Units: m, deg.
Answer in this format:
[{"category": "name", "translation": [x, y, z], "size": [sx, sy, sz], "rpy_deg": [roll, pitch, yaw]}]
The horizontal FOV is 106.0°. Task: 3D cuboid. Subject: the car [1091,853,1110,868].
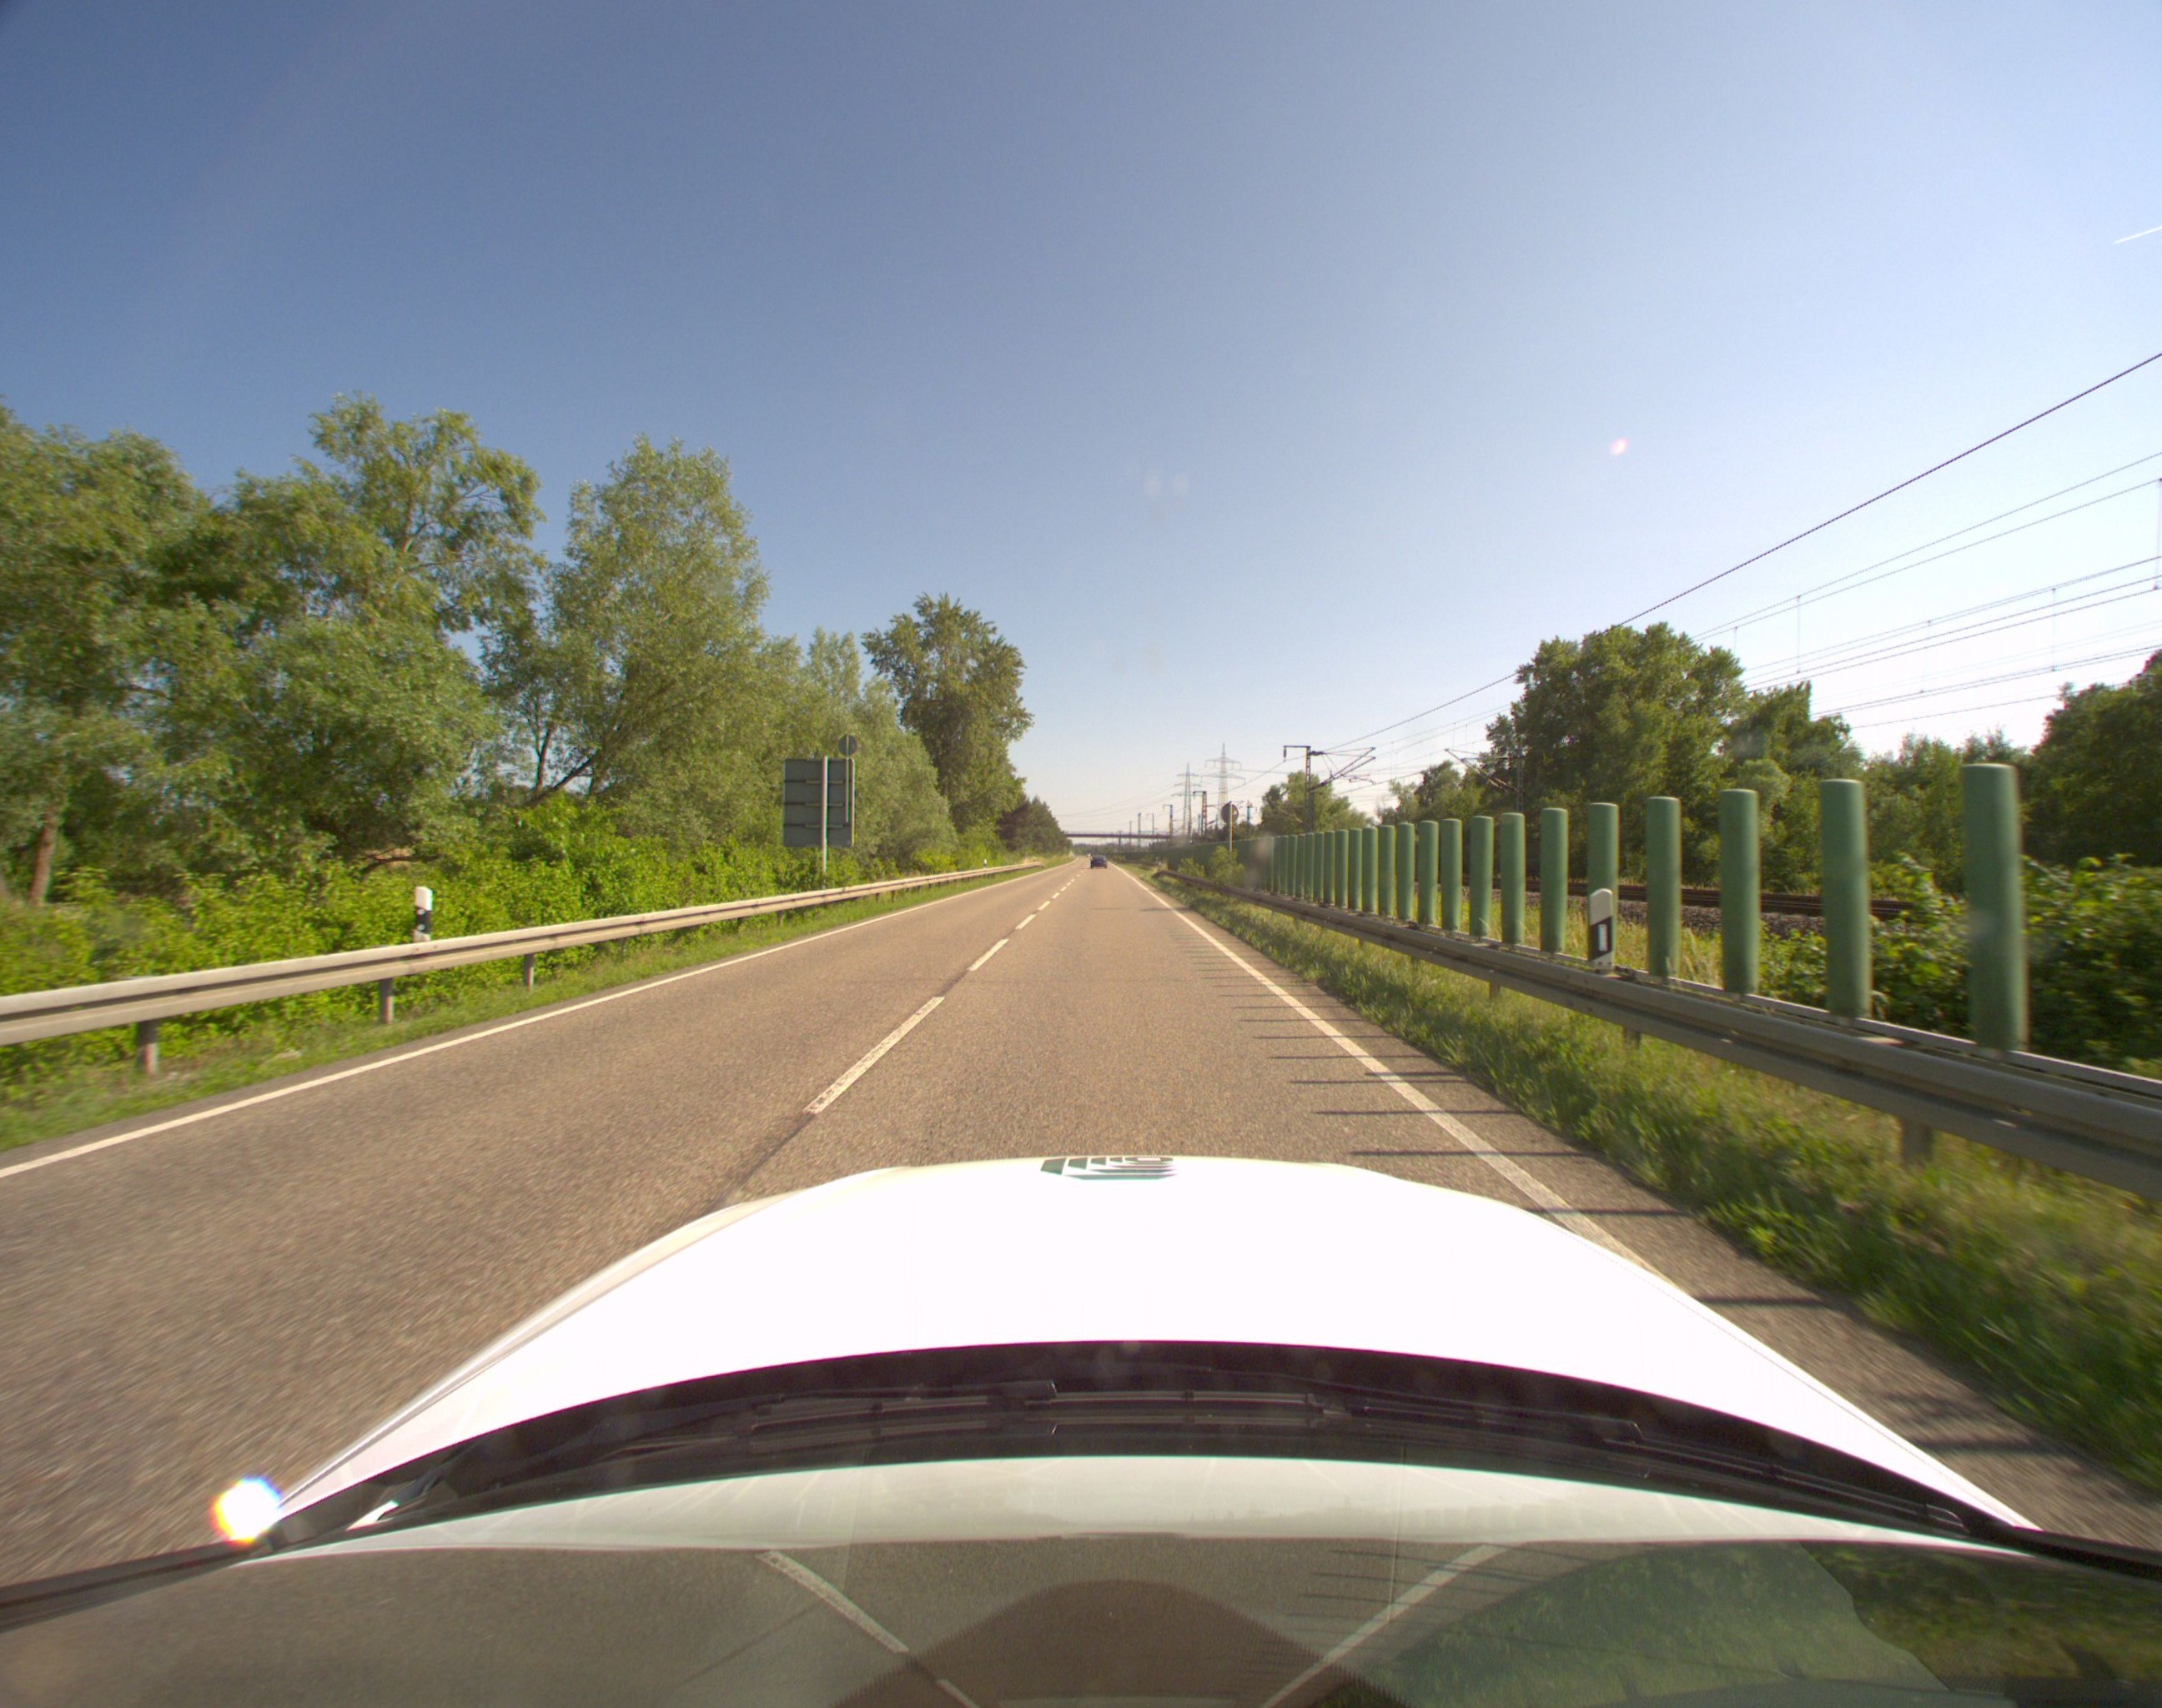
[{"category": "car", "translation": [2.138, 0.716, 90.836], "size": [1.854, 1.642, 3.997], "rpy_deg": [-1, 0, -2]}]
